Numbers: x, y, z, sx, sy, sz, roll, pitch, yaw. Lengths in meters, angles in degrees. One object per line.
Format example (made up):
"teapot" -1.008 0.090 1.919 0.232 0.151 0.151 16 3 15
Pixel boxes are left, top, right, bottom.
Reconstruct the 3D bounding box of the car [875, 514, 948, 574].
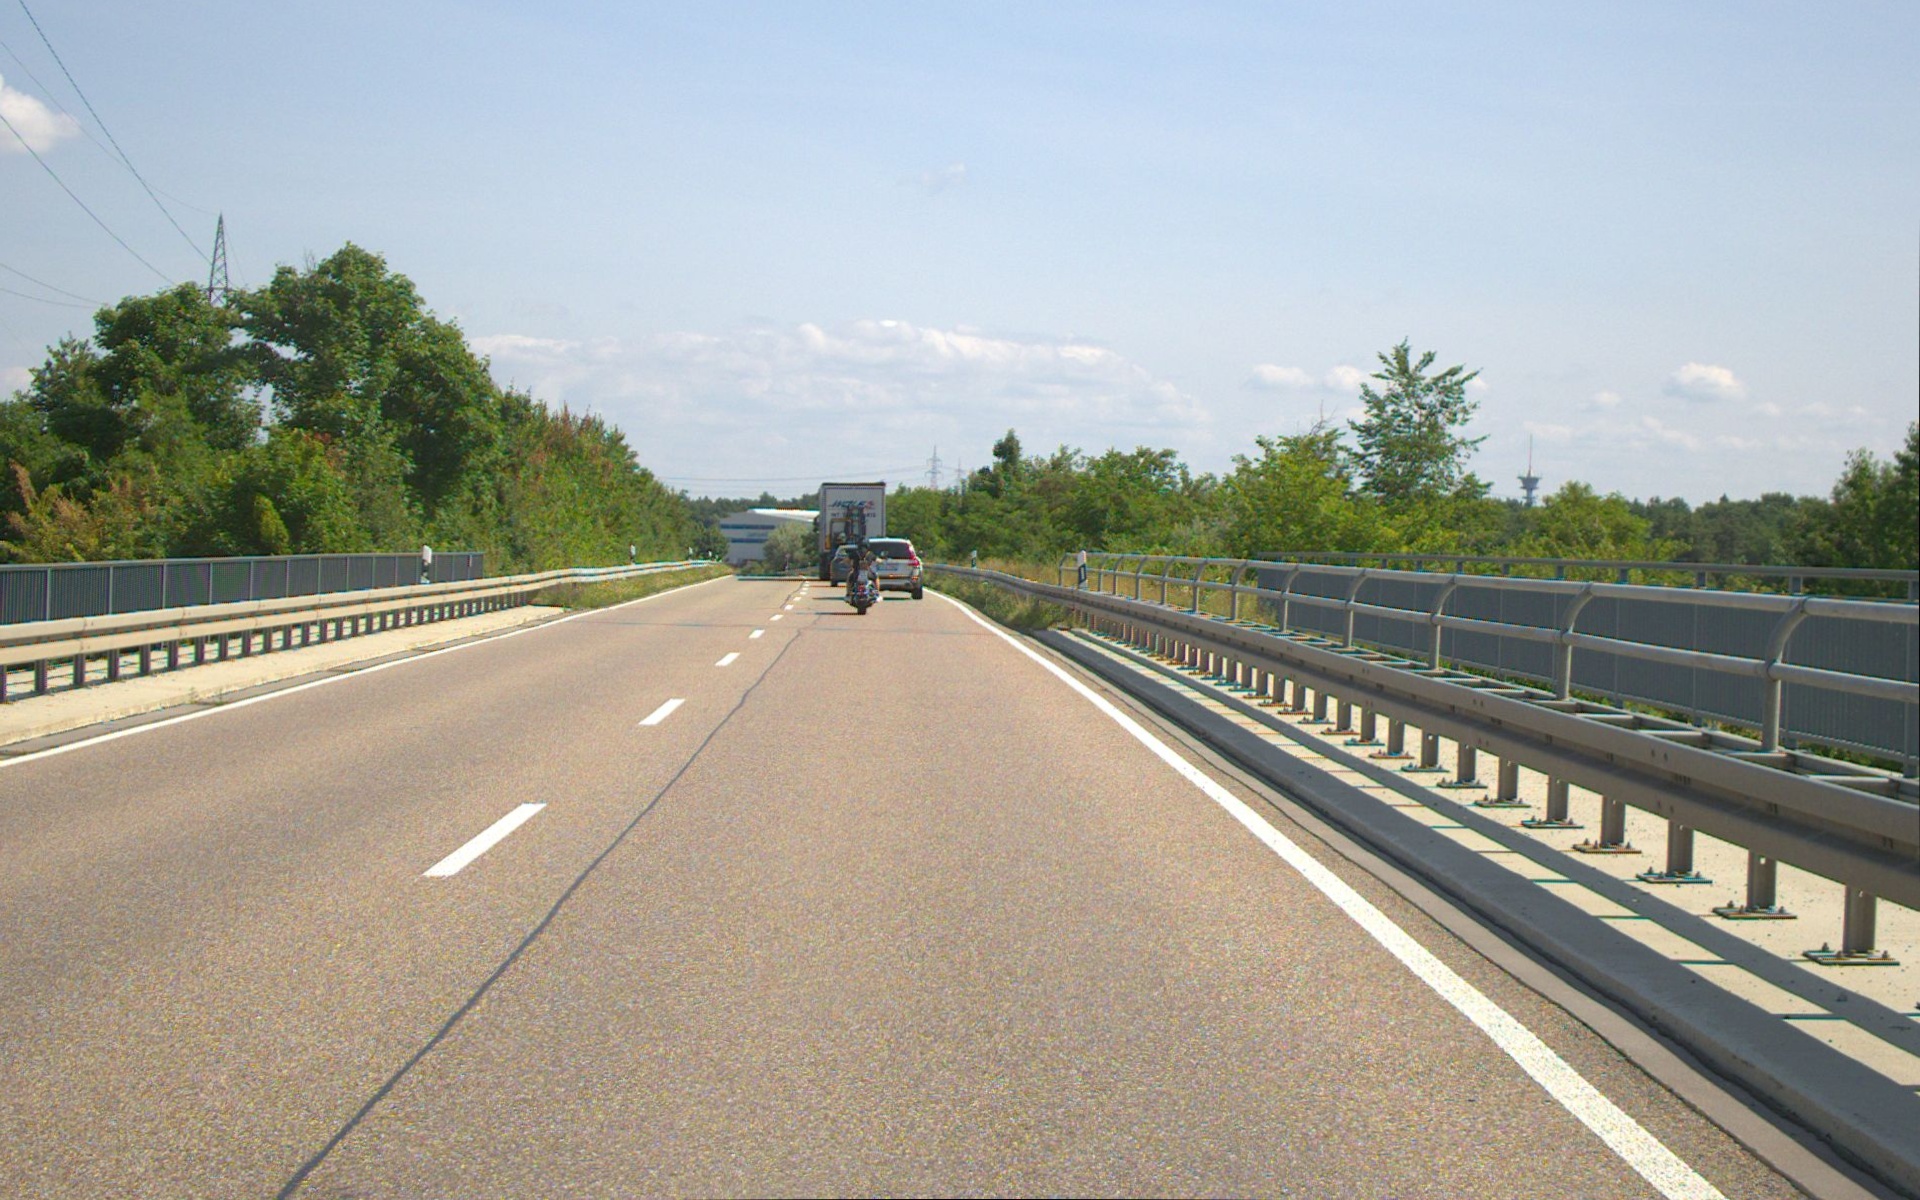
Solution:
"car" -1.238 -1.448 88.132 1.825 1.446 4.001 0 2 -1

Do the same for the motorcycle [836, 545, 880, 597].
"motorcycle" -2.027 -0.594 68.651 0.780 0.972 2.361 0 2 1

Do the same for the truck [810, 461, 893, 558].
"truck" -4.519 -3.800 144.931 3.241 3.965 9.444 0 1 0

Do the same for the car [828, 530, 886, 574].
"car" -3.515 -1.656 117.894 1.866 1.415 4.000 1 2 0

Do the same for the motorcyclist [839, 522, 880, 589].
"motorcyclist" -2.015 -0.888 68.662 0.780 1.321 0.813 0 2 1
